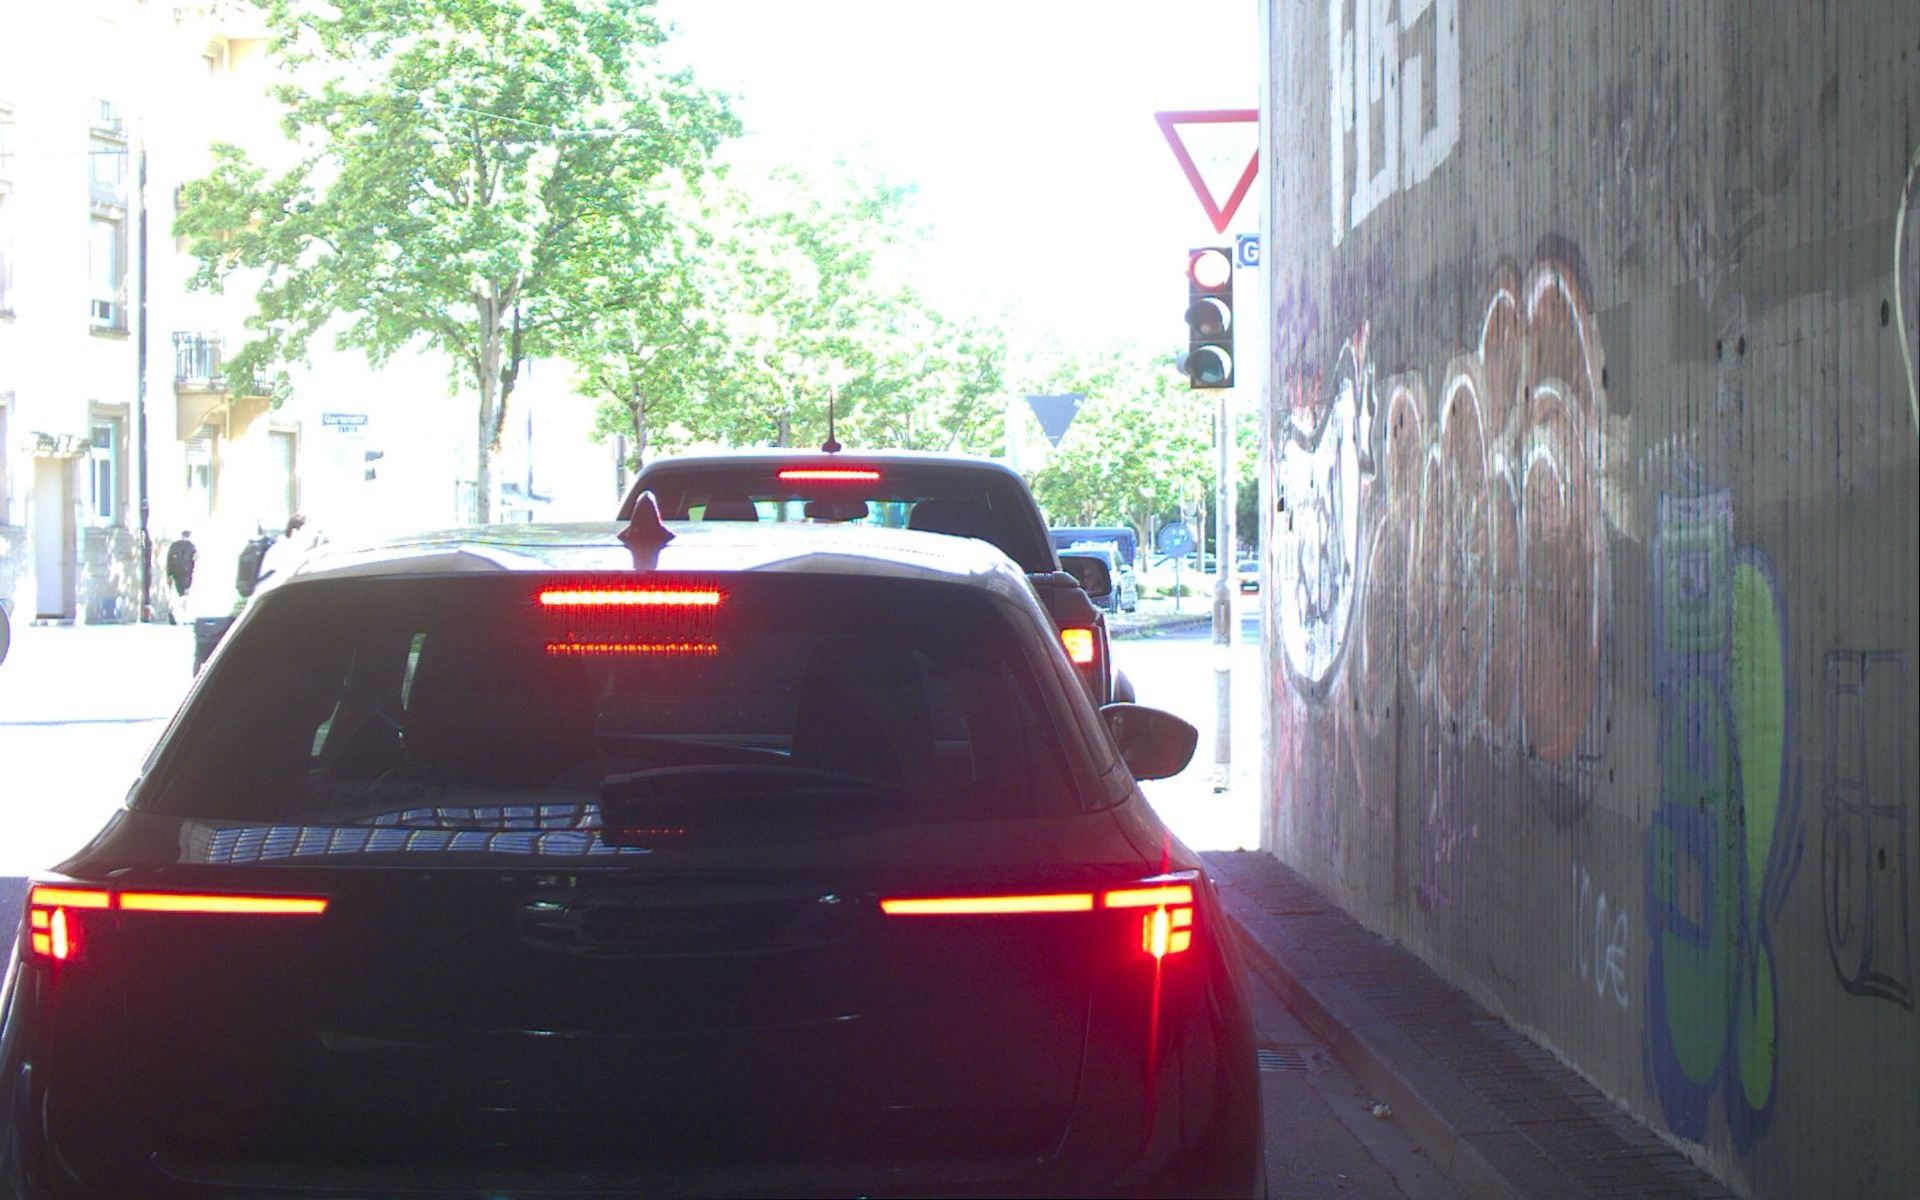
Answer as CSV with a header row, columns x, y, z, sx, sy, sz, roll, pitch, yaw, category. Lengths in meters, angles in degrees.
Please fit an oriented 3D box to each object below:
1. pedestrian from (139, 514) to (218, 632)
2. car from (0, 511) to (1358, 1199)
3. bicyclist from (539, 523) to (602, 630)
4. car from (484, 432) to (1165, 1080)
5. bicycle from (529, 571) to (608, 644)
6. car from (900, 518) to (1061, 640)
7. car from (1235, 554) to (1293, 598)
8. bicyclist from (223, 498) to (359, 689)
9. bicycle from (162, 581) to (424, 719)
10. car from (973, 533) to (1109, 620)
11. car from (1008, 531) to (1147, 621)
x,y,z,sx,sy,sz,roll,pitch,yaw,category
-13.483,-0.473,59.354,0.992,2.007,1.088,0,1,8,pedestrian
-0.490,0.631,6.070,1.882,1.532,3.964,-1,1,-1,car
-5.837,-0.357,51.541,0.729,1.576,0.814,1,0,9,bicyclist
-0.410,0.412,11.892,1.945,1.853,3.964,-1,1,-1,car
-5.855,0.100,51.515,0.732,1.064,1.688,1,1,9,bicycle
0.300,-0.240,44.174,1.968,1.492,3.896,0,-1,1,car
11.776,-0.940,132.875,1.994,1.656,3.999,1,1,8,car
-5.193,-0.057,26.722,0.869,1.447,0.745,-1,1,1,bicyclist
-5.172,0.383,26.708,1.855,1.005,0.745,-1,1,2,bicycle
1.508,-0.397,62.195,1.969,1.492,3.895,0,-1,9,car
2.393,-0.454,69.005,2.221,1.713,4.458,0,-1,10,car
